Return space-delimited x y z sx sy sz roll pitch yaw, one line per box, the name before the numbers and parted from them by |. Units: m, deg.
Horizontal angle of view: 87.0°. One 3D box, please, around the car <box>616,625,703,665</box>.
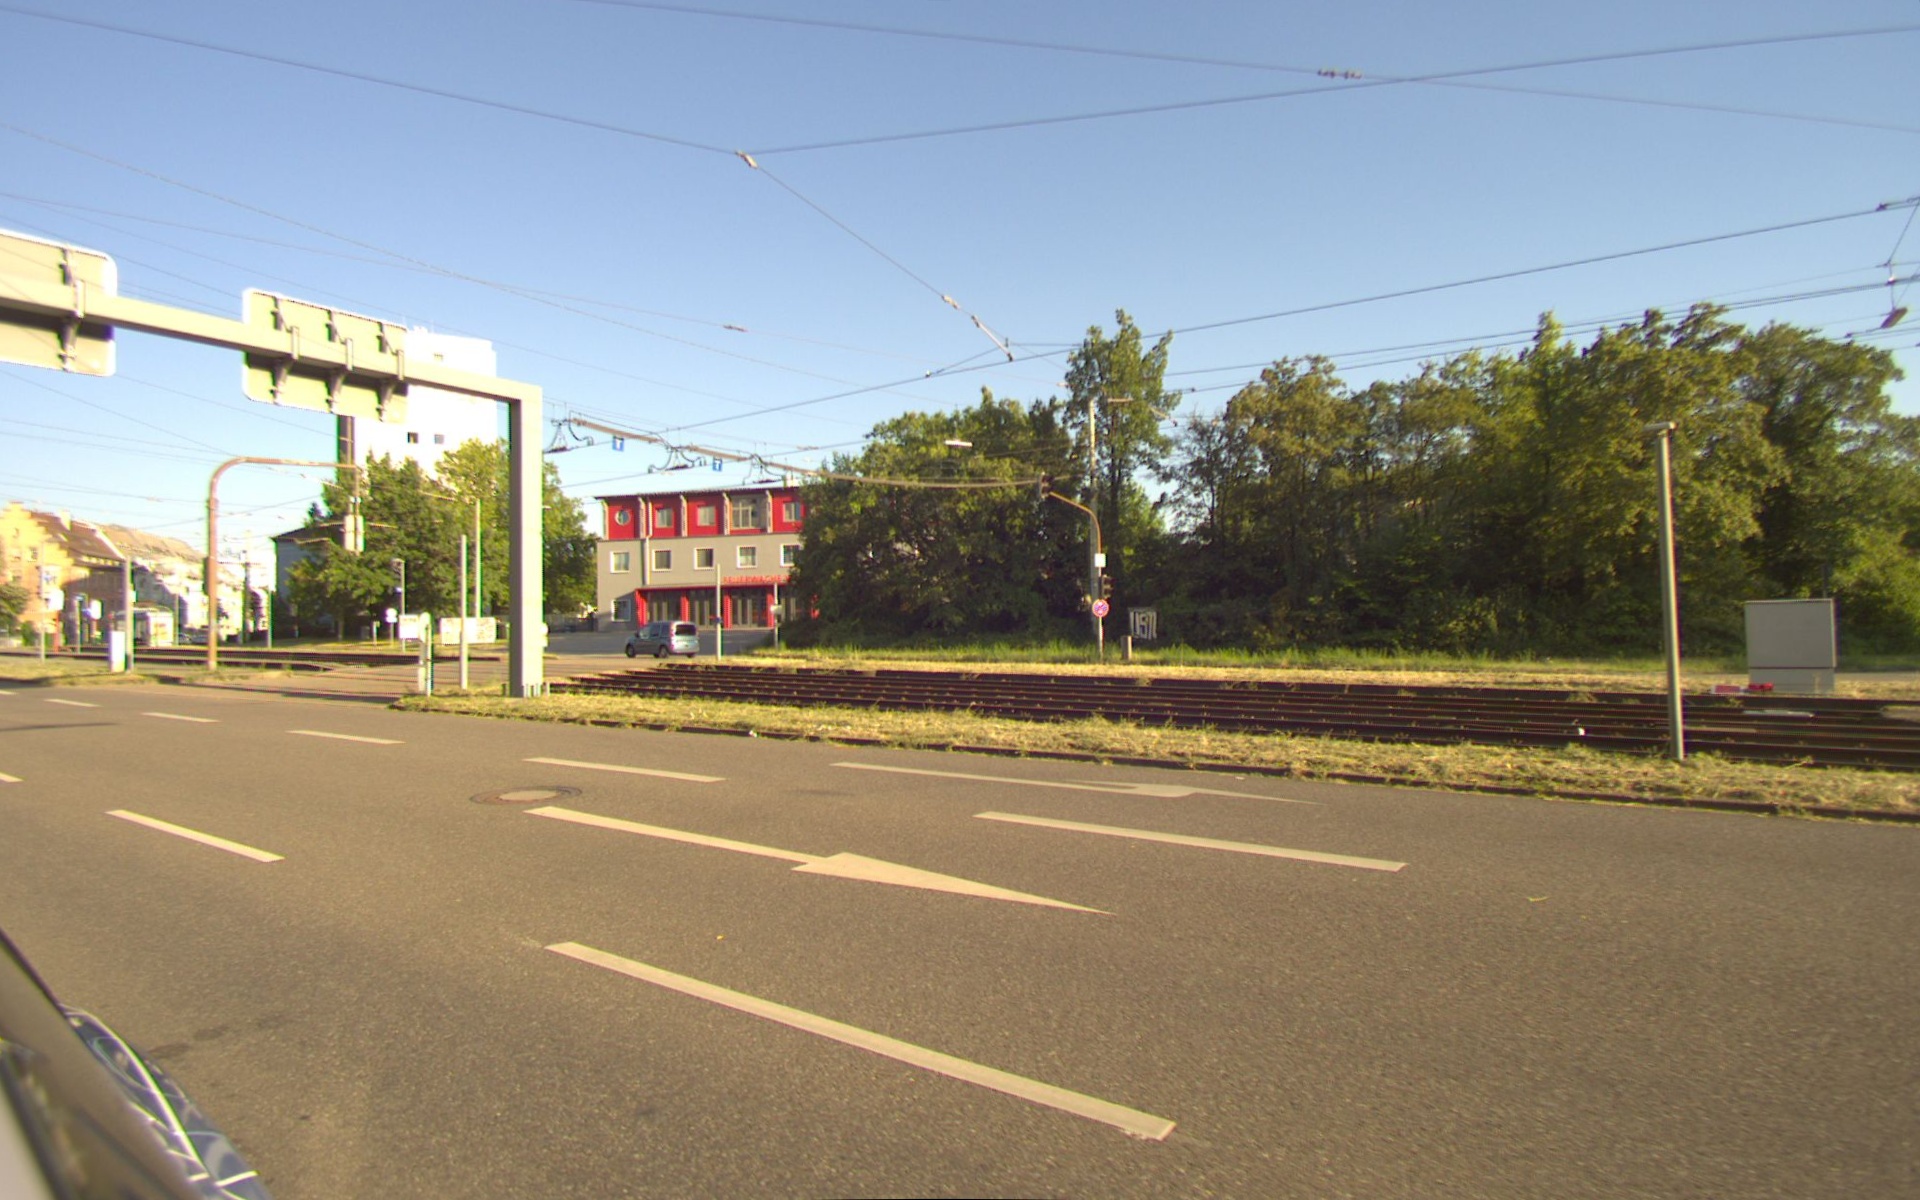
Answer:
car | -14.471 2.168 48.612 4.252 1.801 1.915 -3 -3 38
